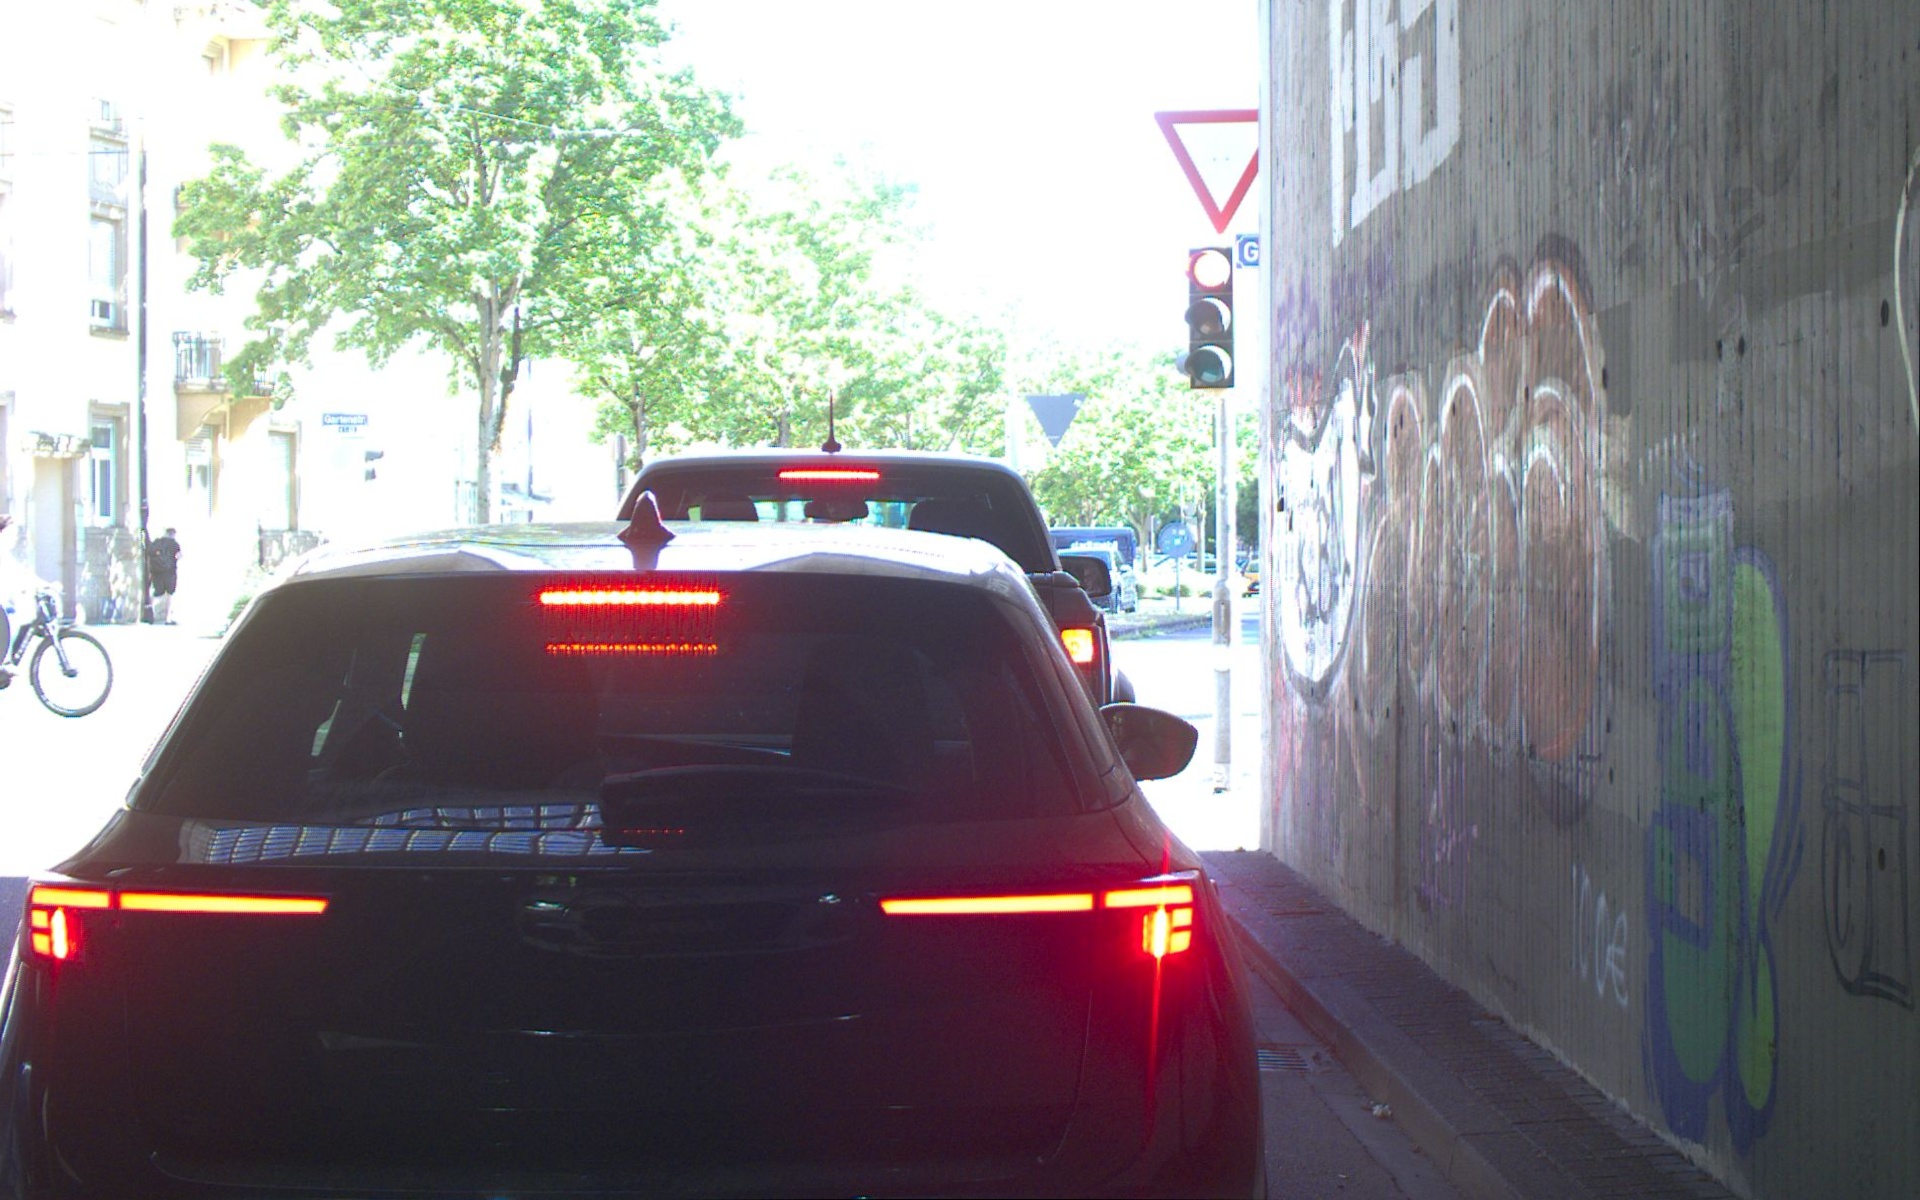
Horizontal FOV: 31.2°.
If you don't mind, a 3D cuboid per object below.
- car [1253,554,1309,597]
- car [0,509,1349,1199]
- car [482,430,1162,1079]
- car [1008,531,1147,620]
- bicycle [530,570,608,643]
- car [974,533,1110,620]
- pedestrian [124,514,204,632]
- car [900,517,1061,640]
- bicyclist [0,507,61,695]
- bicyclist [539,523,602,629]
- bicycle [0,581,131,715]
[{"bbox_3d":[12.829,-0.982,137.111,1.994,1.656,3.999,1,1,8],"label":"car"},{"bbox_3d":[-0.499,0.627,6.079,1.882,1.532,3.964,-1,1,-1],"label":"car"},{"bbox_3d":[-0.418,0.408,11.900,1.945,1.853,3.964,-1,1,-1],"label":"car"},{"bbox_3d":[2.406,-0.462,69.013,2.221,1.713,4.458,0,-1,10],"label":"car"},{"bbox_3d":[-5.848,0.094,51.526,0.732,1.064,1.688,1,1,9],"label":"bicycle"},{"bbox_3d":[1.518,-0.404,62.203,1.969,1.492,3.895,0,-1,9],"label":"car"},{"bbox_3d":[-13.611,-0.468,58.773,0.992,2.007,1.088,0,1,8],"label":"pedestrian"},{"bbox_3d":[0.304,-0.246,44.182,1.968,1.492,3.896,0,-1,1],"label":"car"},{"bbox_3d":[-7.609,0.006,27.037,0.869,1.447,0.745,-1,1,-2],"label":"bicyclist"},{"bbox_3d":[-5.831,-0.362,51.552,0.729,1.576,0.814,1,0,9],"label":"bicyclist"},{"bbox_3d":[-7.546,0.383,27.040,1.855,1.005,0.745,-1,1,-2],"label":"bicycle"}]
